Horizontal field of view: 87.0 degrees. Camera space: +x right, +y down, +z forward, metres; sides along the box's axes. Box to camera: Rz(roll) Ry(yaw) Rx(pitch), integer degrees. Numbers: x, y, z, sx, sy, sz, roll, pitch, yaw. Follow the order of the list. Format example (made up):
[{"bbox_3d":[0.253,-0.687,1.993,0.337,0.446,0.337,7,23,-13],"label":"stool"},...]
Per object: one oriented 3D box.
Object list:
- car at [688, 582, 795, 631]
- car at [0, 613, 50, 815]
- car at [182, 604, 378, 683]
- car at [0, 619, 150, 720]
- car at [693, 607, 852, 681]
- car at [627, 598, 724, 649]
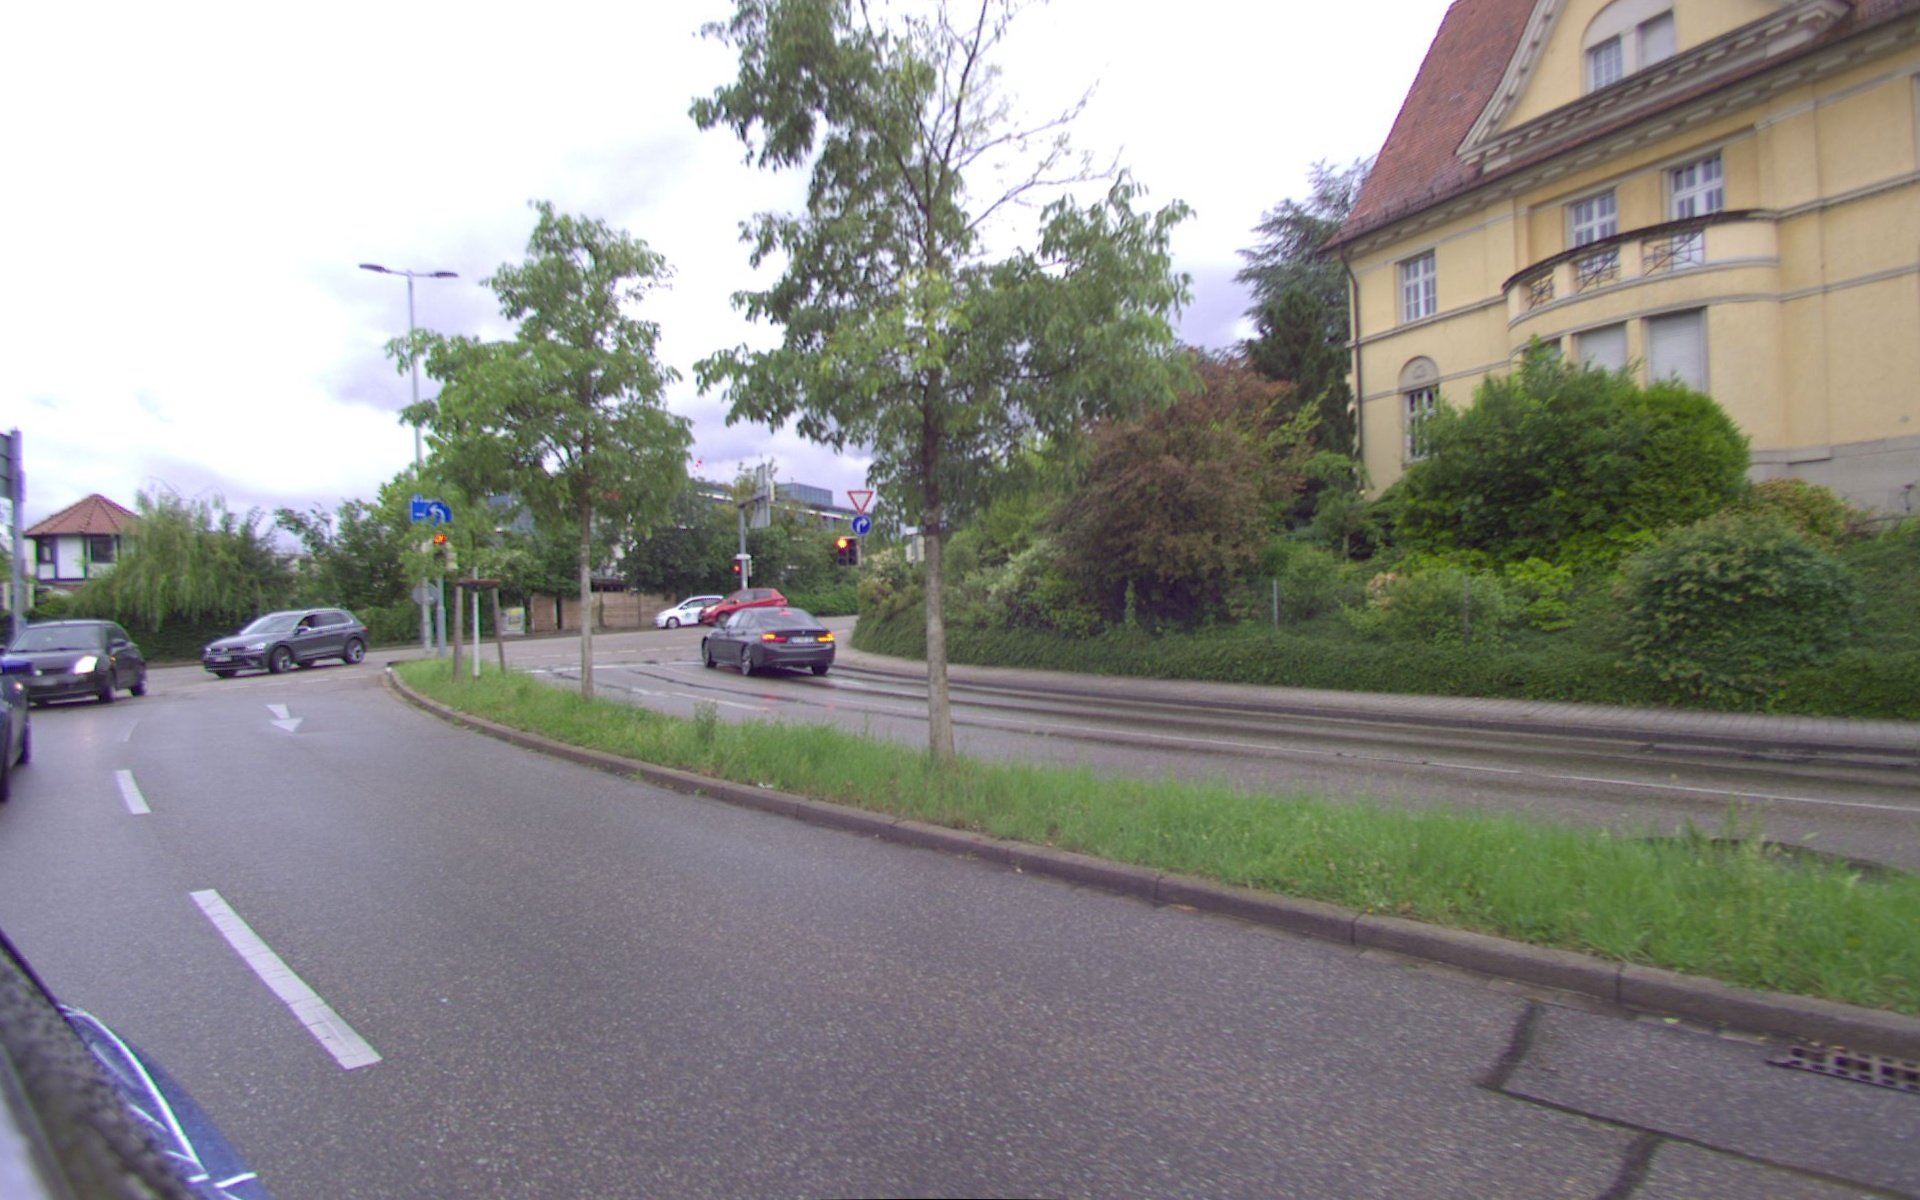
[{"bbox_3d":[-9.232,0.272,42.803,3.933,1.739,1.875,-5,1,-30],"label":"car"},{"bbox_3d":[-9.255,0.903,8.657,1.884,1.507,4.357,-2,0,-38],"label":"car"},{"bbox_3d":[-18.728,1.133,28.139,1.949,1.762,4.291,-4,1,12],"label":"car"},{"bbox_3d":[-16.225,1.213,18.395,1.718,1.530,4.012,-5,1,-31],"label":"car"},{"bbox_3d":[-4.276,0.957,22.463,1.966,1.449,4.561,1,-2,-31],"label":"car"},{"bbox_3d":[-13.384,1.100,47.621,3.932,2.028,2.006,-5,1,-28],"label":"car"}]
